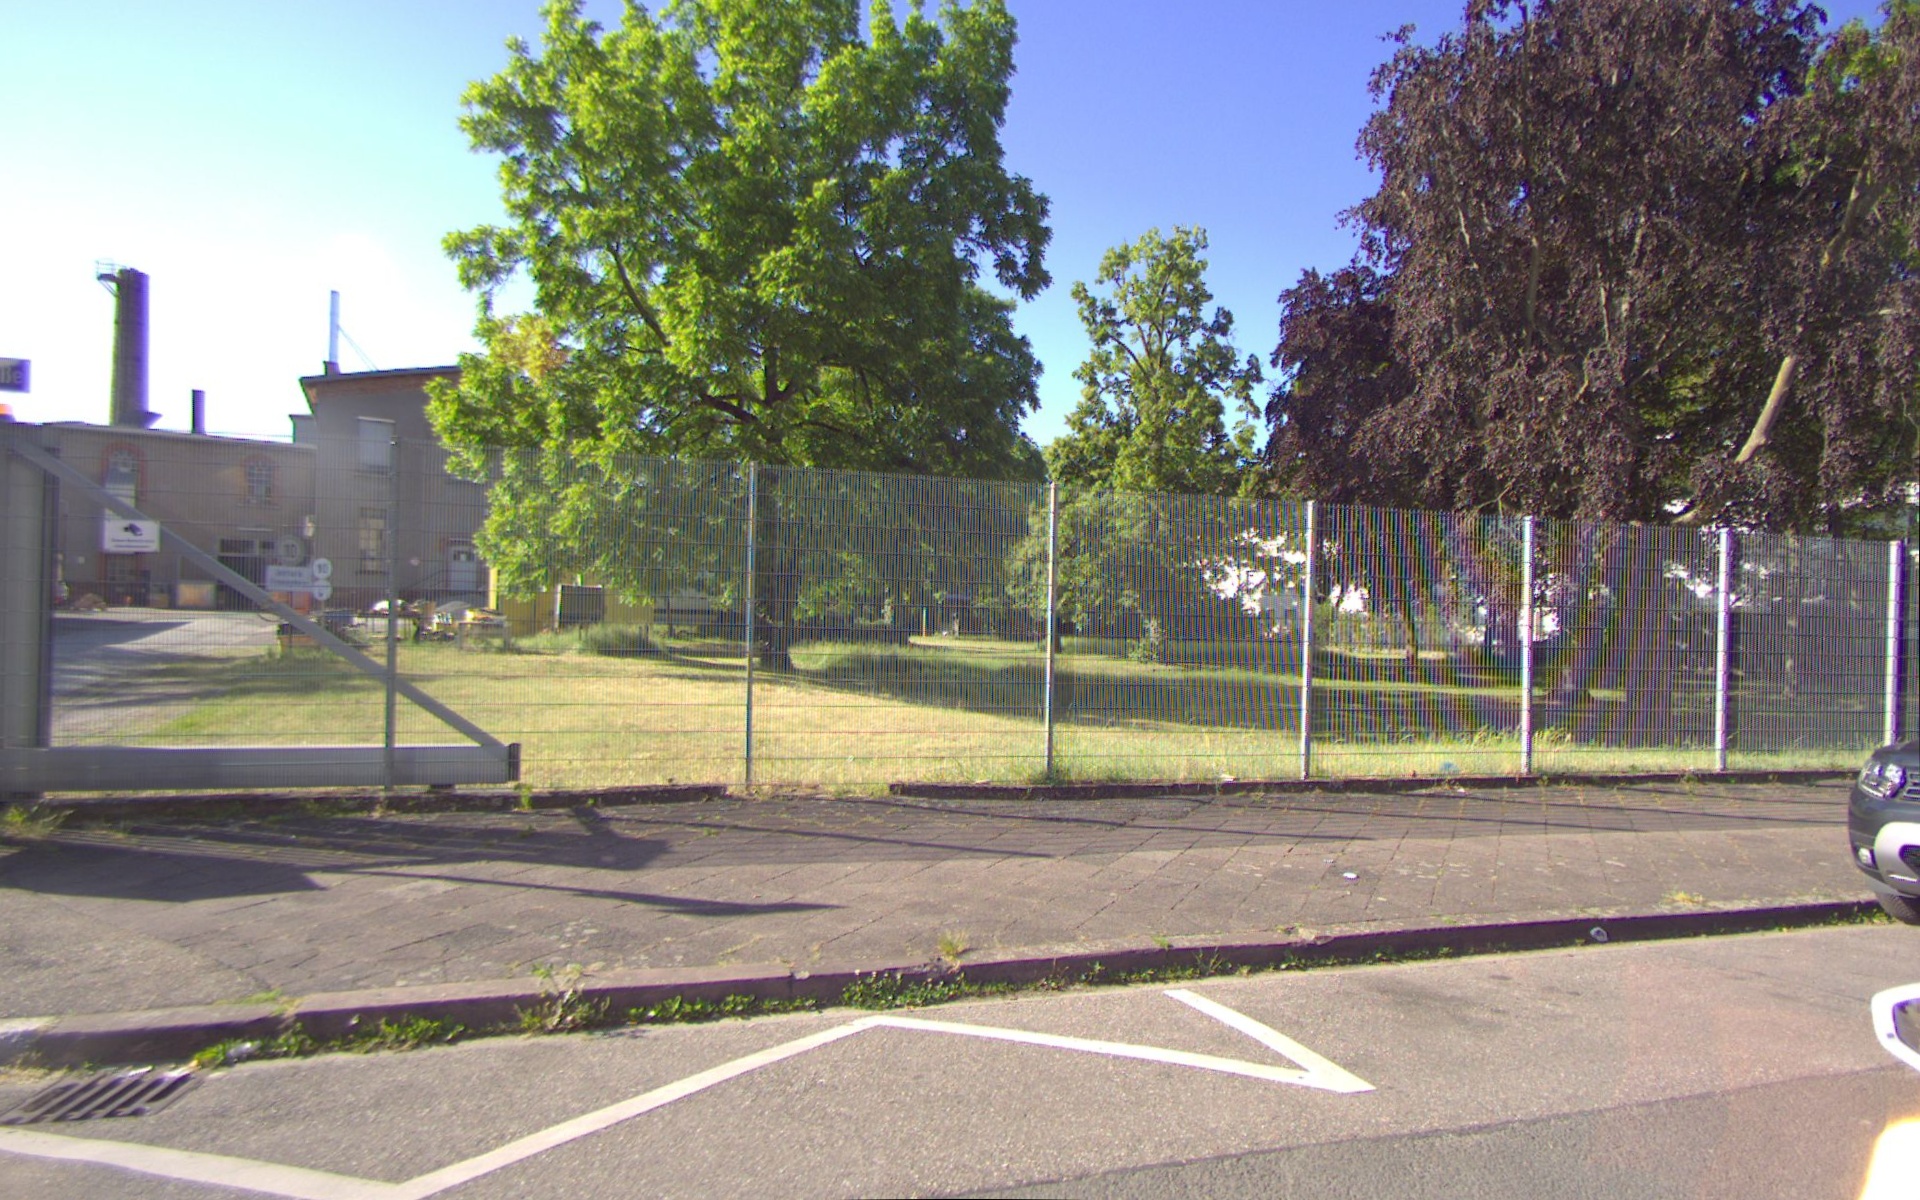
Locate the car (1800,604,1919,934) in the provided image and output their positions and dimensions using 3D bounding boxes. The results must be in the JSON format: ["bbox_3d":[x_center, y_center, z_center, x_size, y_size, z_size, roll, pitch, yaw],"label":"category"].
[{"bbox_3d":[6.975,0.919,5.449,4.097,1.685,1.712,2,-4,-17],"label":"car"}]
